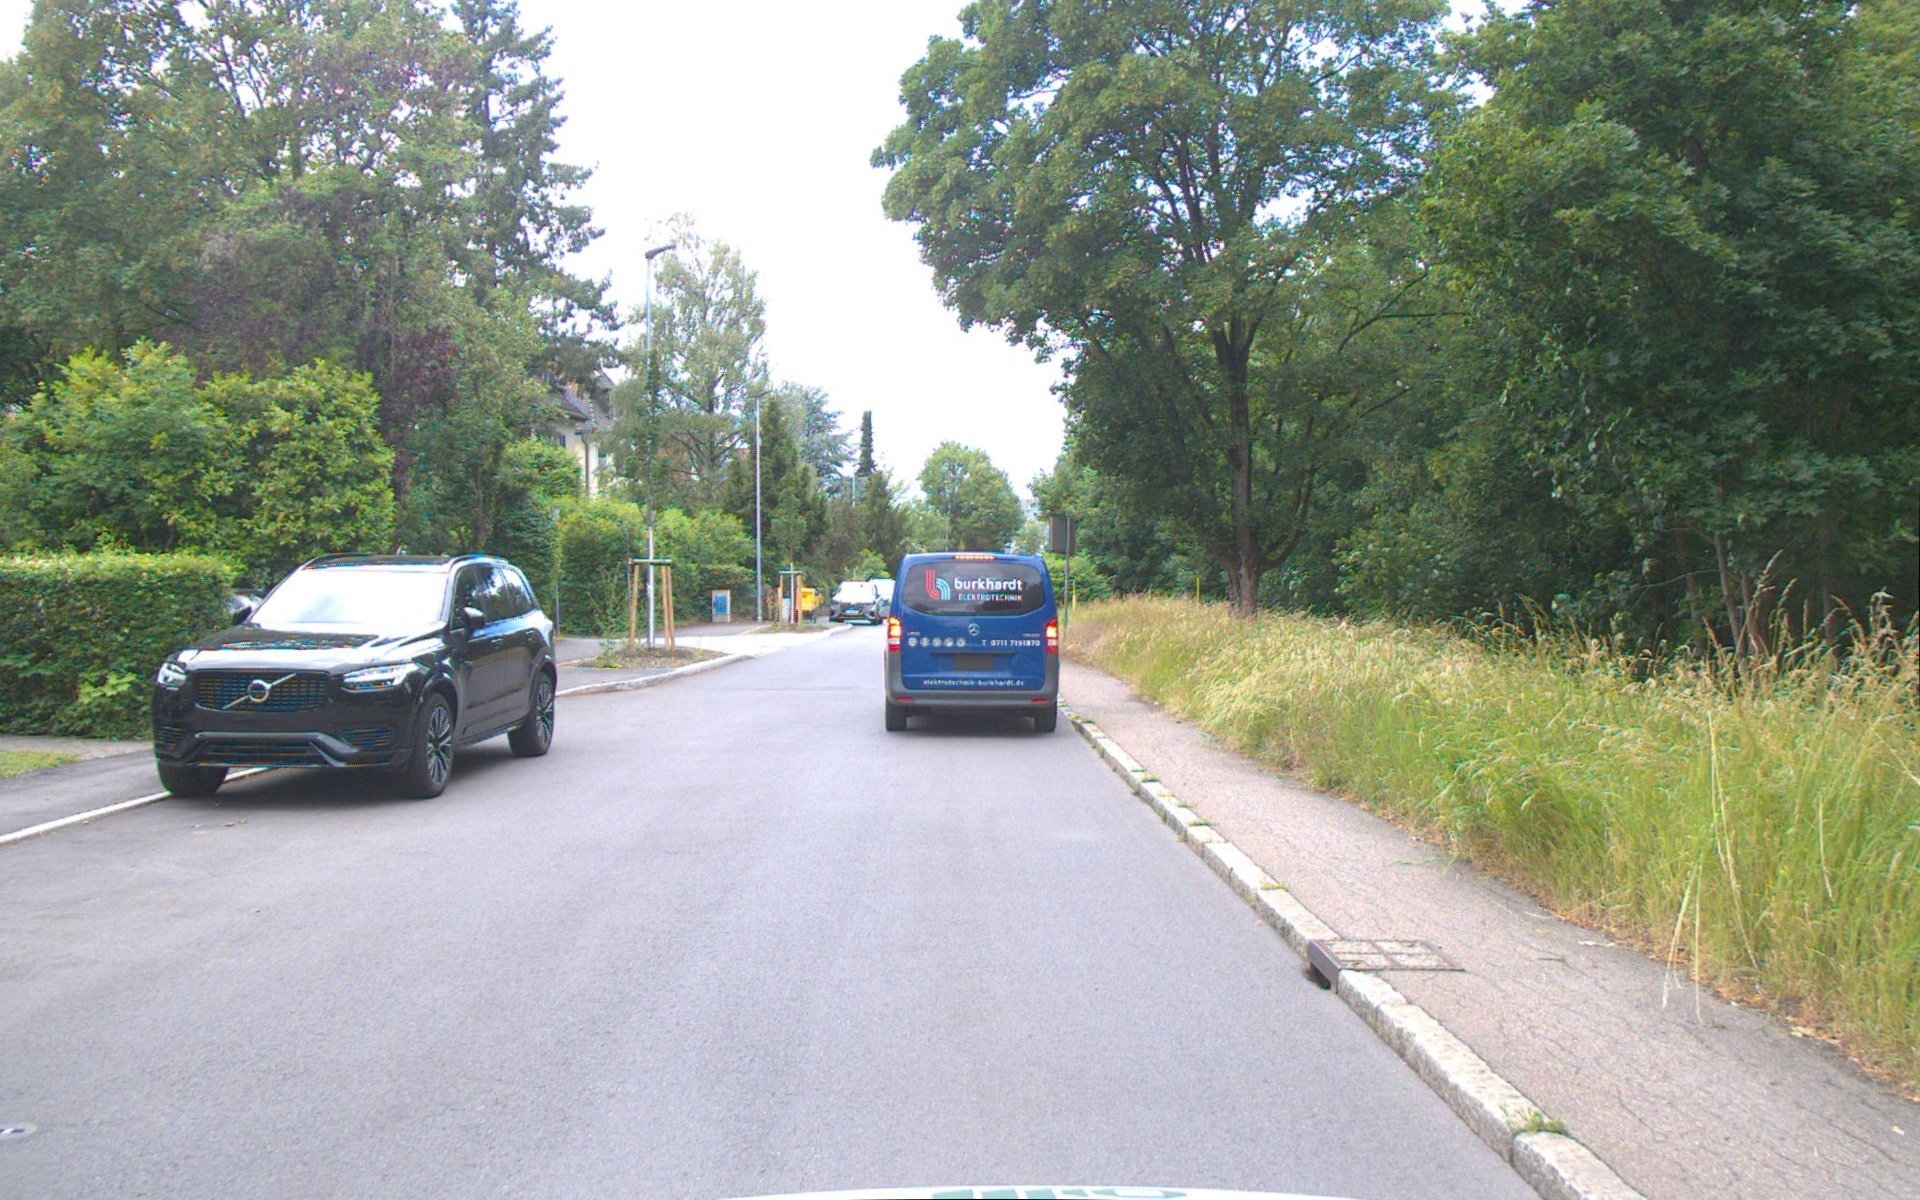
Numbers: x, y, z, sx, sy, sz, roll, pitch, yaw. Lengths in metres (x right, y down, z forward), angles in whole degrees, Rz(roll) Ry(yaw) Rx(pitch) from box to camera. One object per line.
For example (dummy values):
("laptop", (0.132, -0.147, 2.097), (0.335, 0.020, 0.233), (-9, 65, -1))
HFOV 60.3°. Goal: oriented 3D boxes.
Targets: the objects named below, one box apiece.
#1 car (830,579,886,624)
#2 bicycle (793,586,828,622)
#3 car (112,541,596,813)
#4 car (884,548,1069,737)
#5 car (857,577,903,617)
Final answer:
("car", (-3.951, 0.026, 64.729), (1.798, 1.659, 4.301), (1, 0, 2))
("bicycle", (-5.575, 0.129, 61.822), (0.887, 1.273, 2.916), (2, 0, 2))
("car", (-4.553, 0.479, 13.453), (1.933, 1.767, 5.190), (1, 1, 1))
("car", (0.086, 0.369, 18.660), (1.851, 1.876, 3.999), (0, 2, -2))
("car", (-3.717, -0.162, 77.631), (1.794, 1.782, 4.001), (1, 1, 2))
